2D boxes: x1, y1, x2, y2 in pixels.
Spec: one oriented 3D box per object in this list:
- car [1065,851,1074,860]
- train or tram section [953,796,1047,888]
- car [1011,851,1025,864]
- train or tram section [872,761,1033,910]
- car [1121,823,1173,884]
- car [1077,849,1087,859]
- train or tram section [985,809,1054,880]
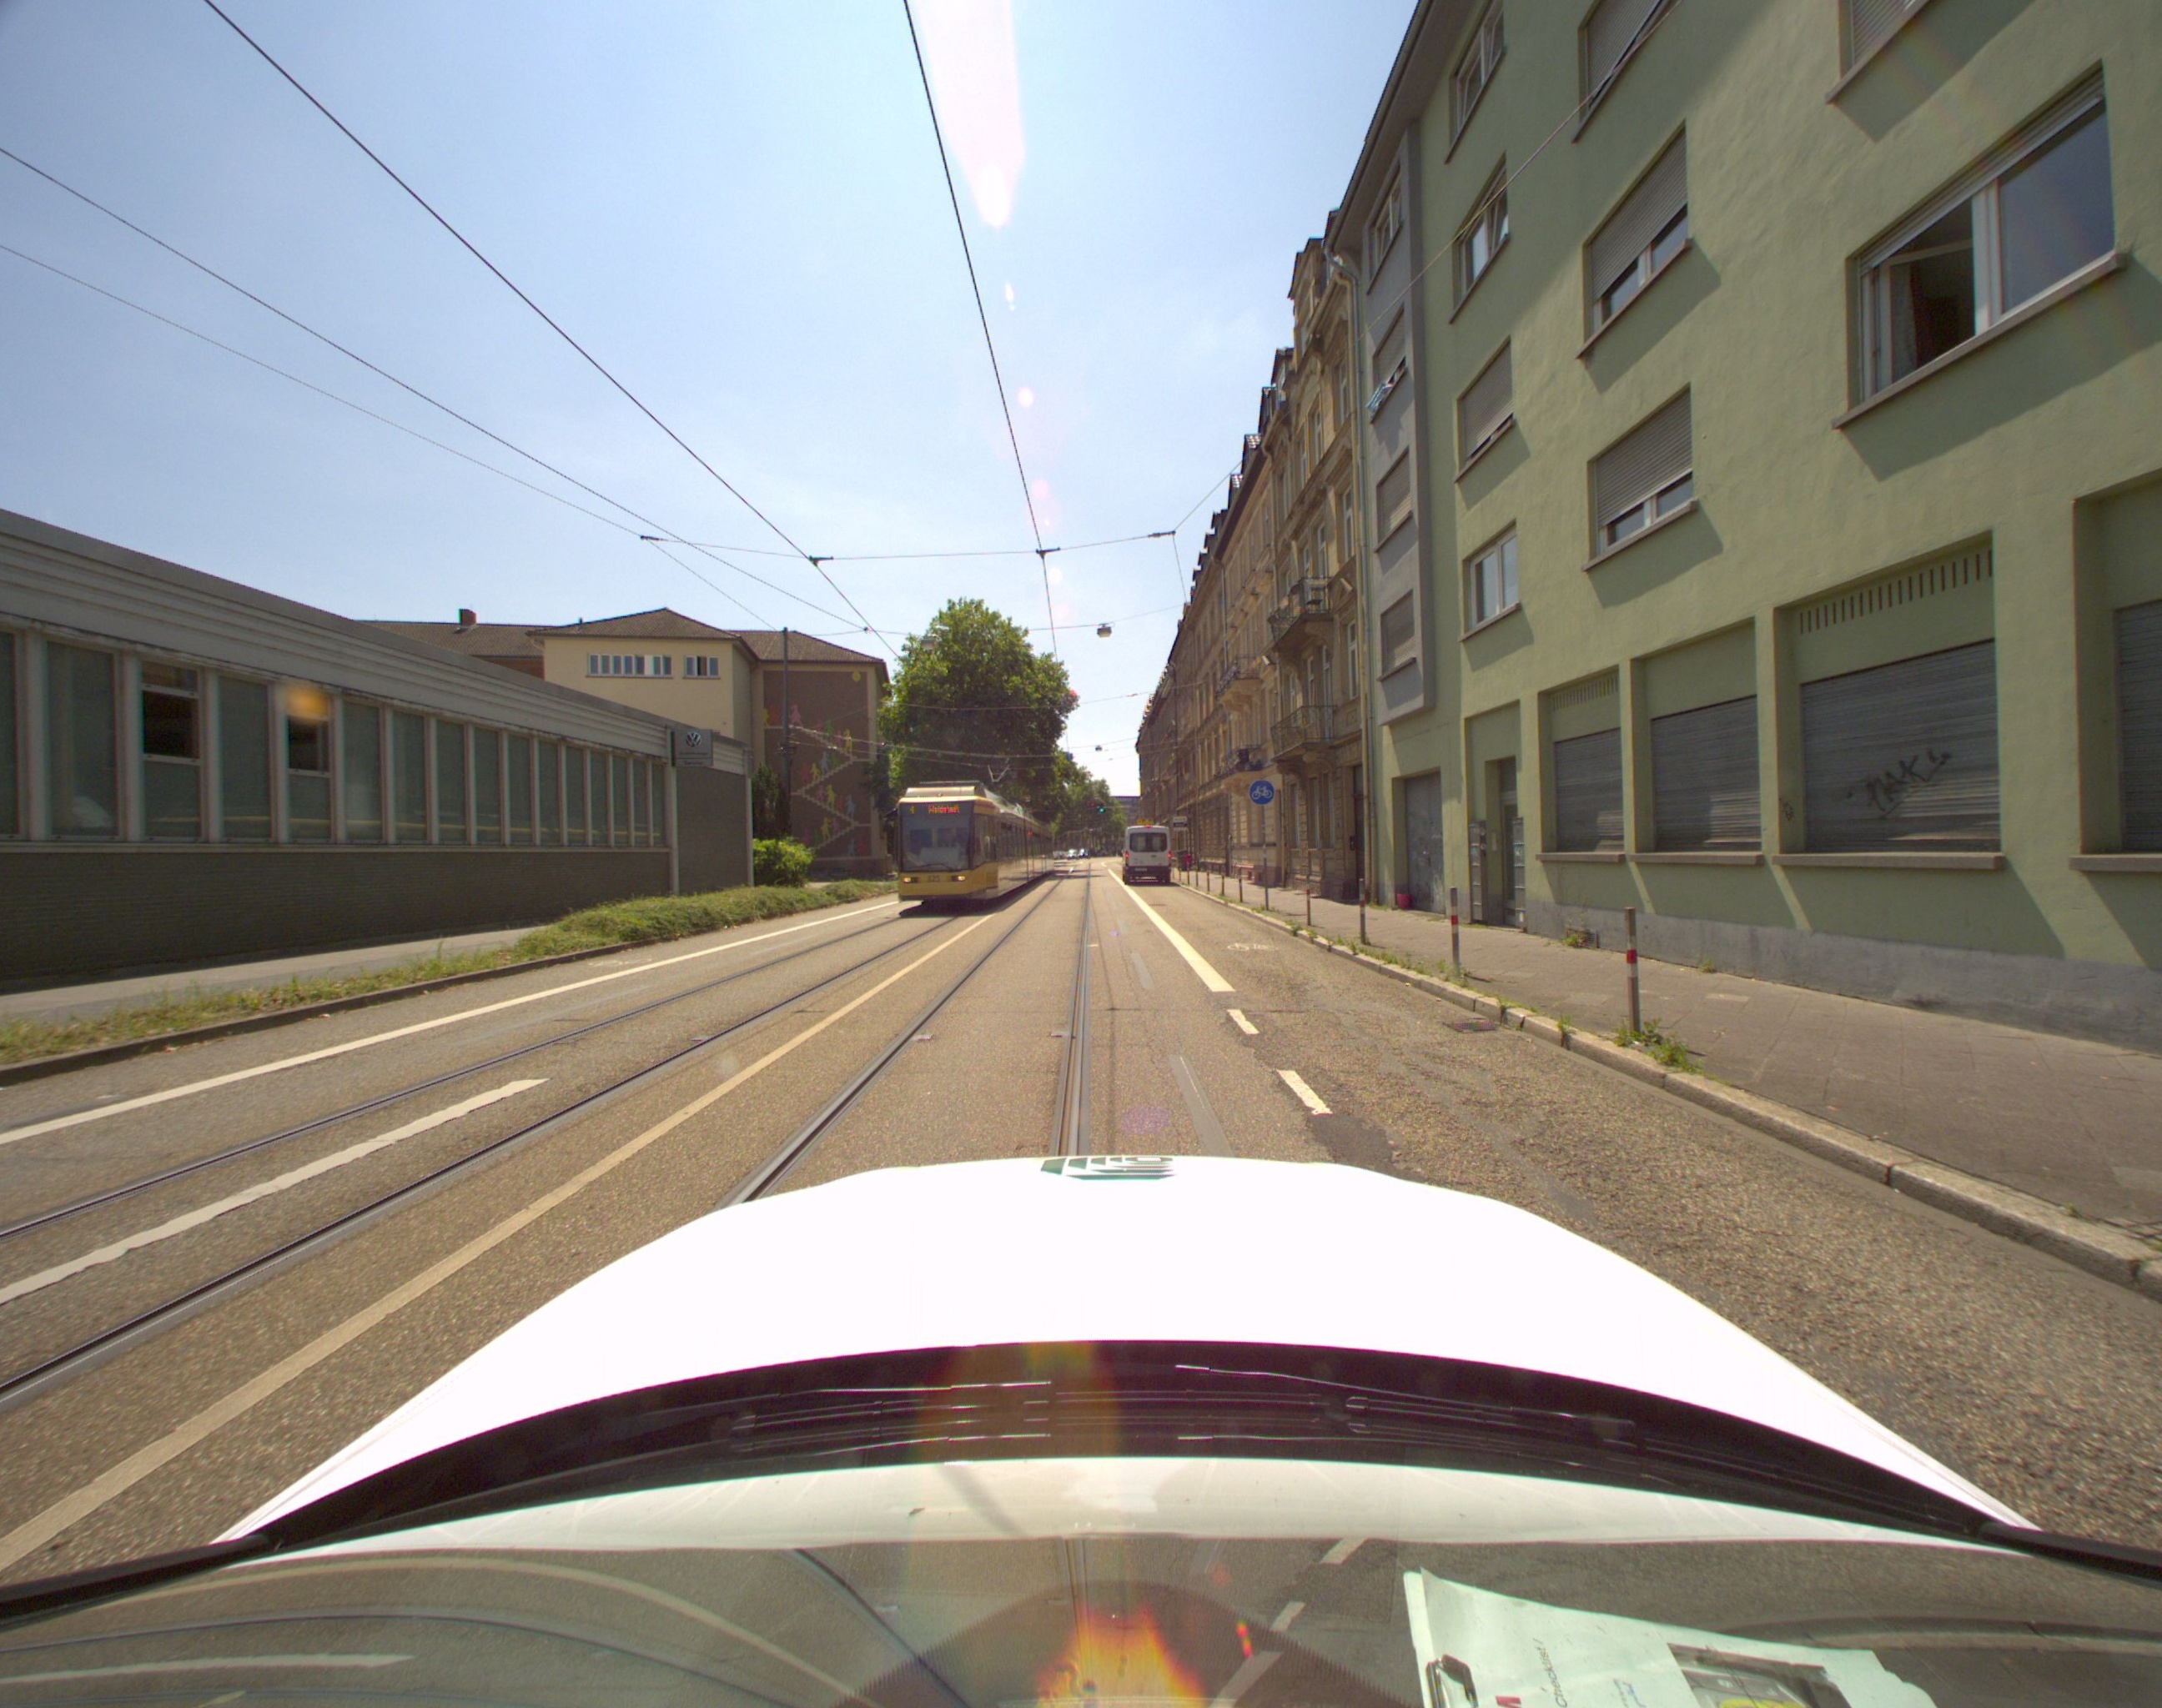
[{"bbox_3d":[-2.028,0.221,141.094,1.524,1.408,3.487,-1,0,-2],"label":"car"},{"bbox_3d":[-3.480,-0.511,38.859,2.951,3.580,13.423,-2,0,0],"label":"train or tram section"},{"bbox_3d":[-7.533,0.401,97.348,1.450,1.496,3.660,-1,0,-1],"label":"car"},{"bbox_3d":[-3.552,-0.492,26.681,2.951,3.580,13.423,-2,0,0],"label":"train or tram section"},{"bbox_3d":[2.914,-0.038,36.923,2.059,2.501,5.456,-1,0,2],"label":"car"},{"bbox_3d":[0.196,-0.031,148.519,1.669,1.860,3.997,-1,0,-2],"label":"car"},{"bbox_3d":[-3.422,-0.527,49.106,2.951,3.580,13.423,-2,0,0],"label":"train or tram section"}]
